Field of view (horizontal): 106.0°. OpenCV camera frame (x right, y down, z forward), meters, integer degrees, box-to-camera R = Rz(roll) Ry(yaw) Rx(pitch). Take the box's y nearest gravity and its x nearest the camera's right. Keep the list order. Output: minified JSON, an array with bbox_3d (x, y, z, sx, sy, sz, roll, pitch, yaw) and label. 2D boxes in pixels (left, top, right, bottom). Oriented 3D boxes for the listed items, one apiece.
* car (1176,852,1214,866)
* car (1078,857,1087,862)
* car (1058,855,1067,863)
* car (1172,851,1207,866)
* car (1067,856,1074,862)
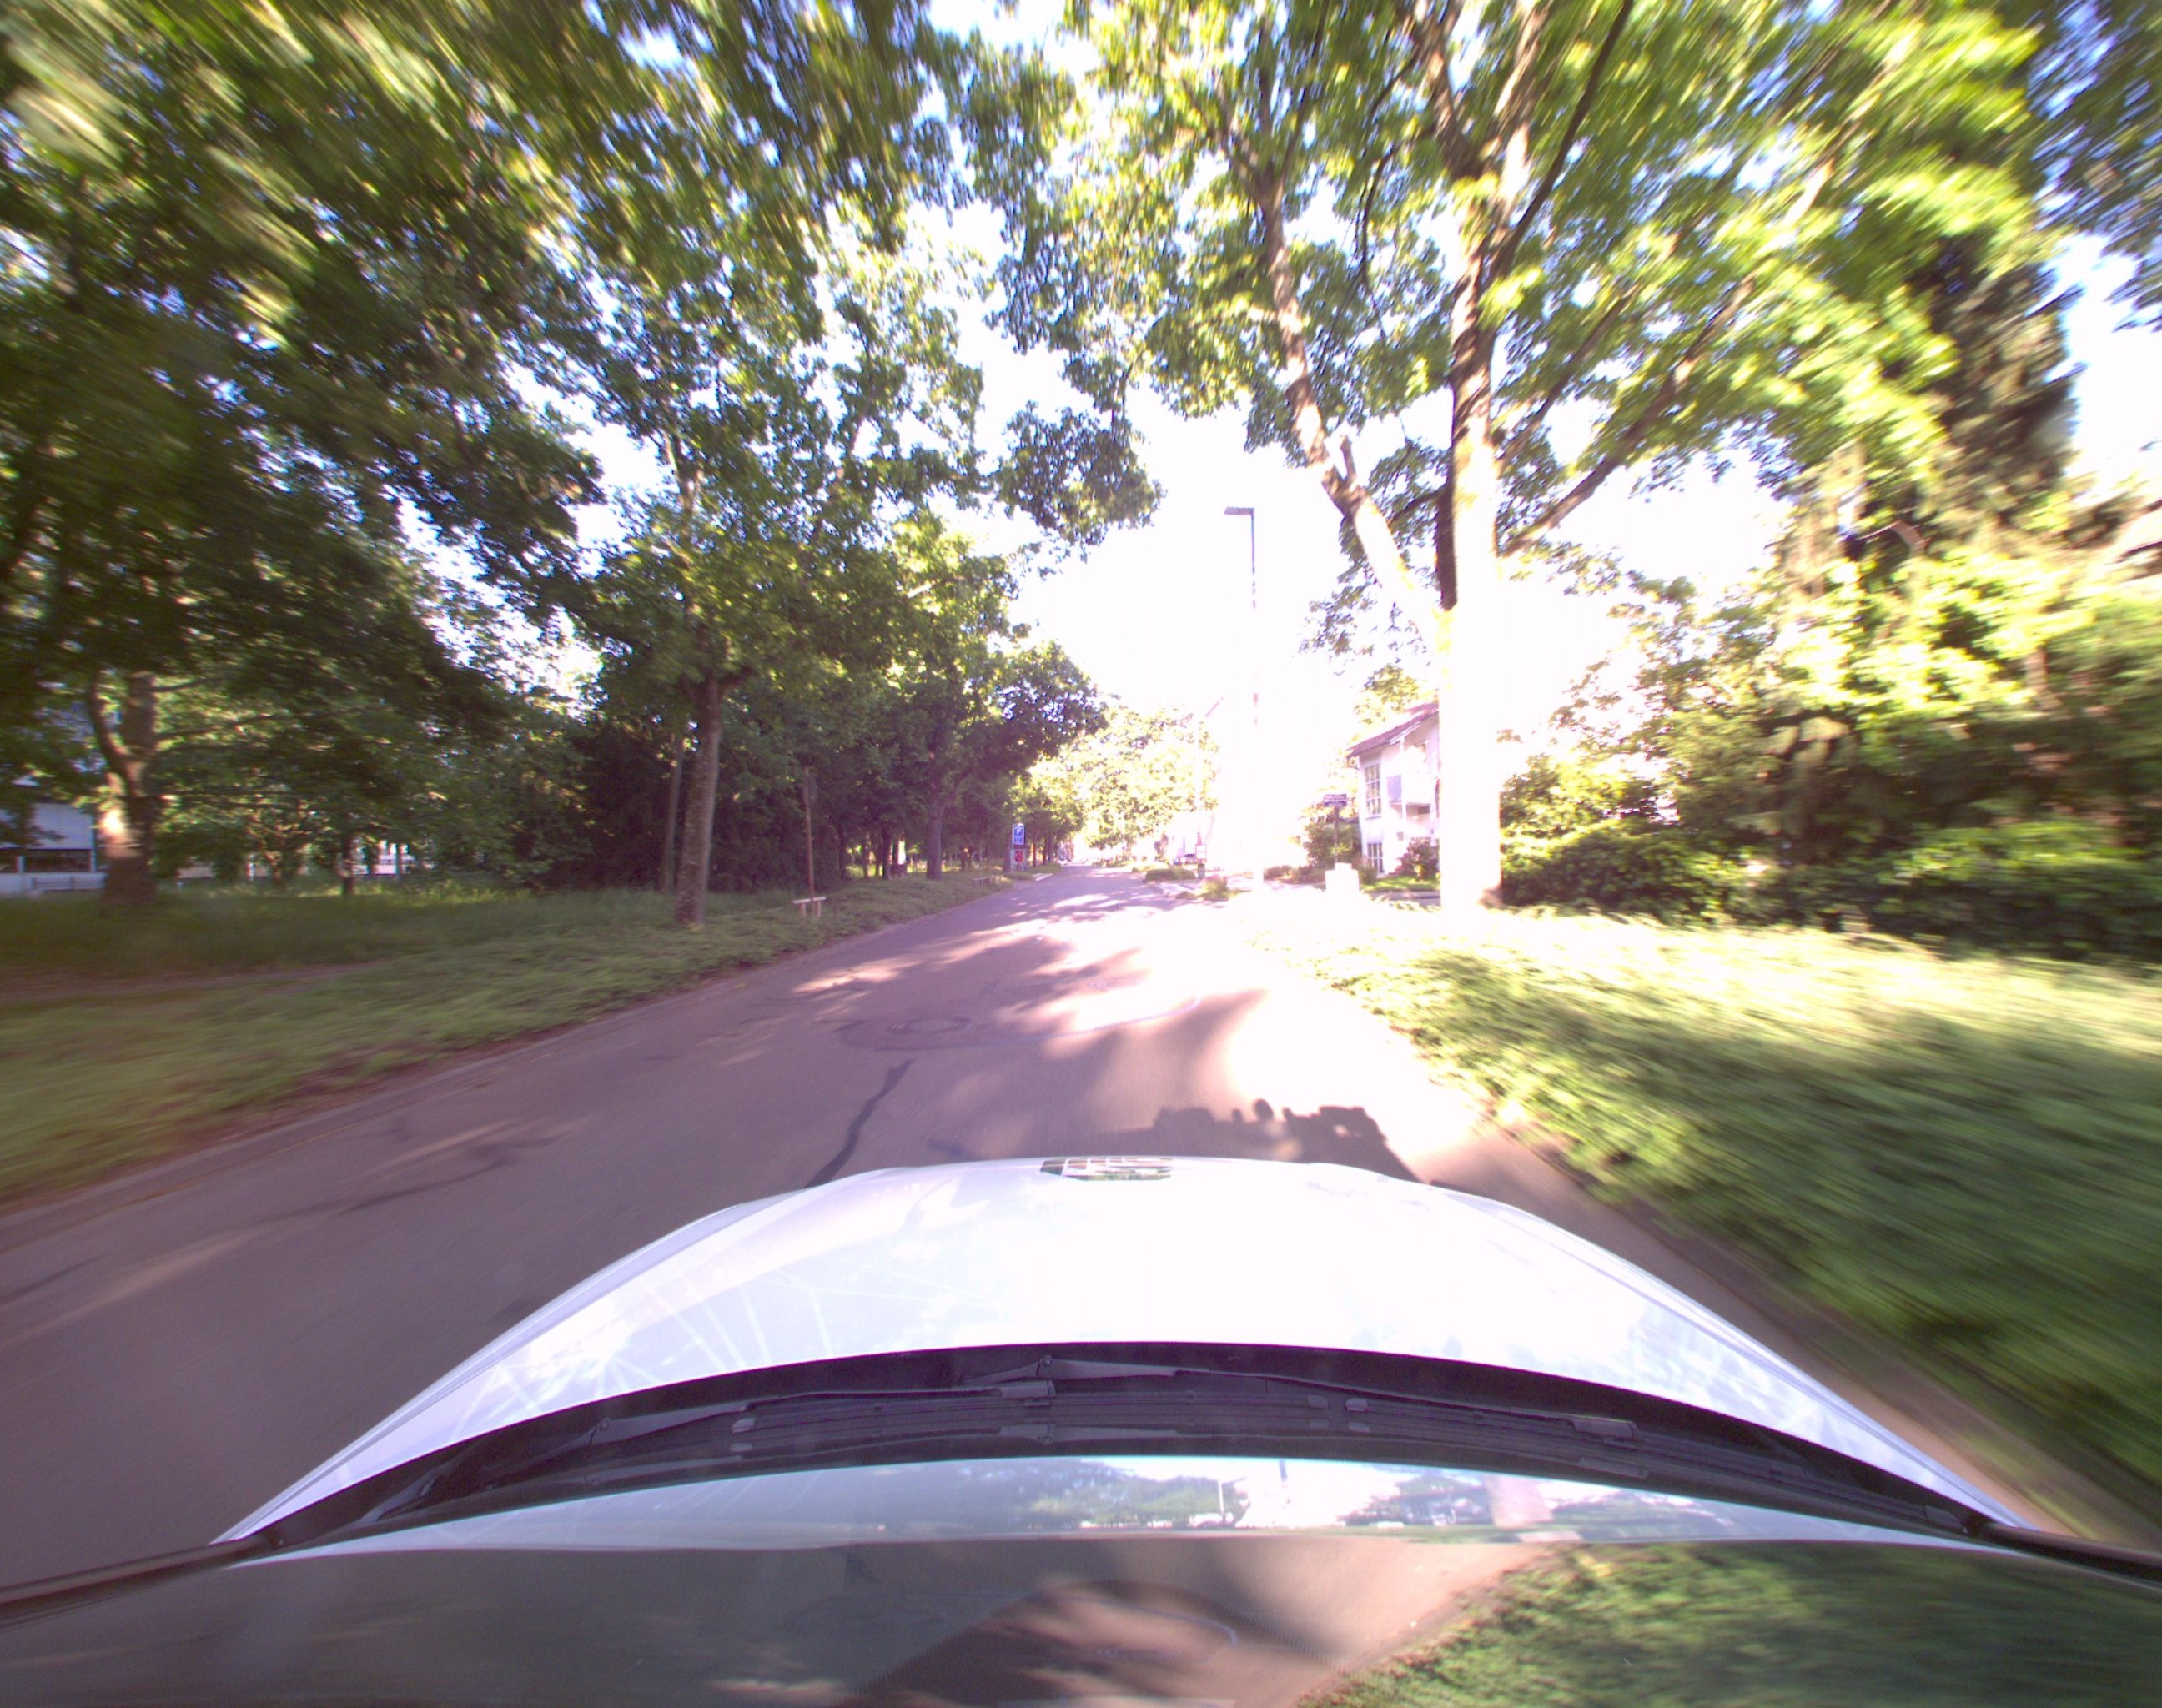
[{"bbox_3d":[12.834,0.575,91.554,4.030,1.514,1.725,-1,-2,-2],"label":"car"},{"bbox_3d":[0.487,1.567,232.872,1.811,1.501,3.986,-2,0,-10],"label":"car"},{"bbox_3d":[-3.996,1.013,177.472,1.839,1.579,4.333,-3,0,-2],"label":"car"},{"bbox_3d":[13.239,0.545,99.387,3.978,1.581,1.808,-2,1,-3],"label":"car"},{"bbox_3d":[-3.357,1.543,261.398,1.809,1.925,3.991,0,0,-6],"label":"car"}]
